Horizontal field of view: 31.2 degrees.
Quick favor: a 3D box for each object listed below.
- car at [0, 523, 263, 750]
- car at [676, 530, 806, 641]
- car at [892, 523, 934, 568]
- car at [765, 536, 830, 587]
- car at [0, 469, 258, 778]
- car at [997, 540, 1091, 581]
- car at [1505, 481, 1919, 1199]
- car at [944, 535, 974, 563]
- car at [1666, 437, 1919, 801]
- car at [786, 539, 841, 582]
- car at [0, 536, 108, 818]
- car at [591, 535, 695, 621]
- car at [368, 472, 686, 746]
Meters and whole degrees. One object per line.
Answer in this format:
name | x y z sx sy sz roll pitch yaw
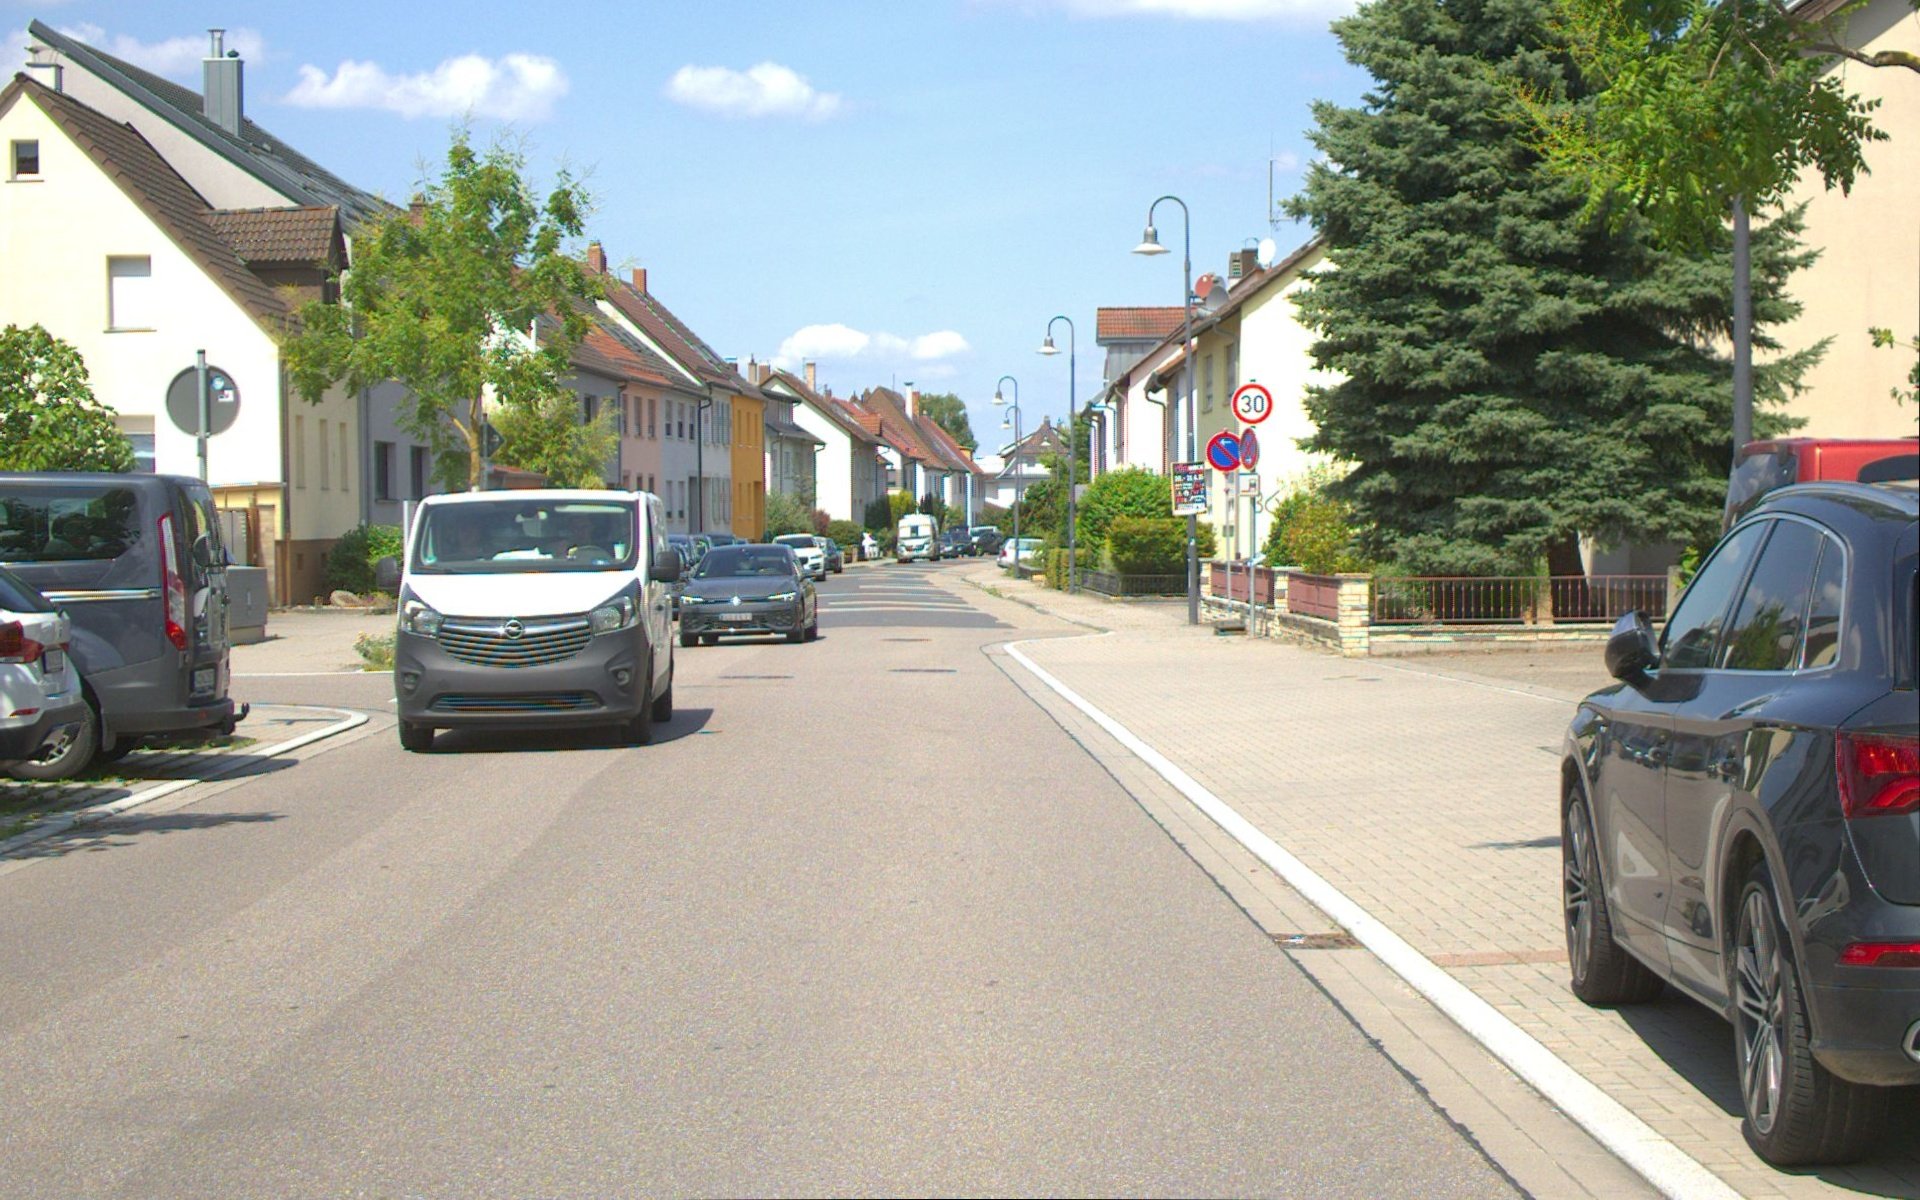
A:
car | -7.527 0.228 25.878 4.175 1.614 1.772 1 0 -1
car | -3.188 -0.236 50.703 1.762 1.517 4.049 -2 1 -2
car | -2.543 -2.948 186.758 2.045 2.304 3.771 1 0 3
car | -5.504 -1.316 116.660 1.850 1.653 4.000 2 1 2
car | -7.184 0.100 22.663 4.699 1.916 1.938 1 0 -1
car | 3.220 -1.513 132.576 3.523 1.459 1.628 1 0 0
car | 2.757 0.493 9.385 1.864 1.630 4.446 -2 2 1
car | -0.039 -3.188 216.084 1.691 1.654 3.771 2 0 3
car | 6.464 0.134 19.051 4.618 1.887 2.021 1 0 -2
car | -5.834 -1.581 137.675 1.850 1.653 4.000 2 1 2
car | -7.221 0.372 19.883 4.182 1.563 1.774 1 0 -4
car | -6.213 -0.453 67.738 1.816 1.428 4.140 4 2 -4
car | -3.280 0.049 26.950 2.022 1.943 4.899 0 0 -2
